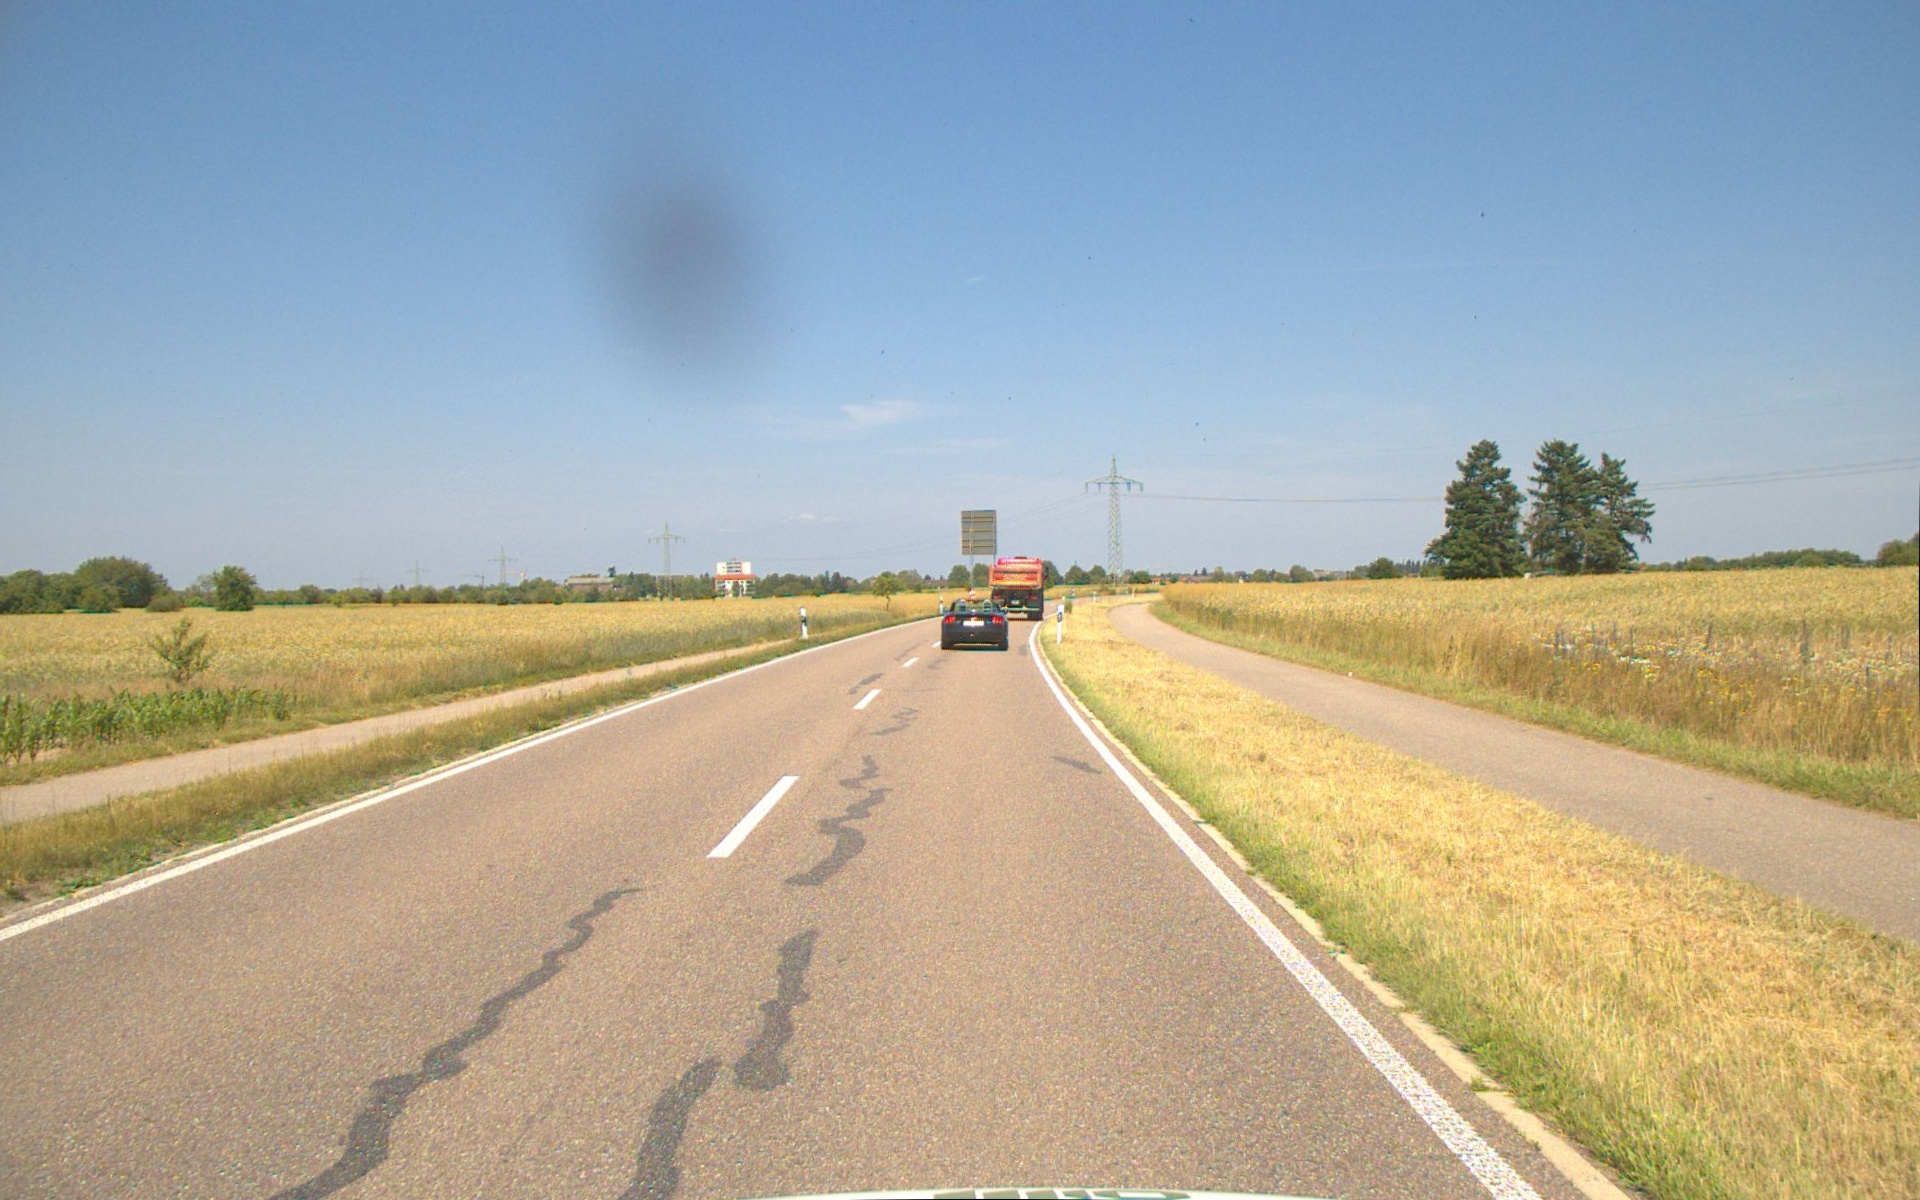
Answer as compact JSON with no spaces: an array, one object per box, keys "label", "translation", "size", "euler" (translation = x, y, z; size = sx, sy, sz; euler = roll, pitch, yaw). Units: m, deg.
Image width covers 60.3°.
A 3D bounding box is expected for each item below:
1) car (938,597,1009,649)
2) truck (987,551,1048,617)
[{"label":"car","translation":[0.392,0.592,43.612],"size":[1.707,1.302,4.001],"euler":[0,0,3]},{"label":"truck","translation":[2.878,-0.743,82.228],"size":[2.877,3.143,7.198],"euler":[0,0,2]}]
